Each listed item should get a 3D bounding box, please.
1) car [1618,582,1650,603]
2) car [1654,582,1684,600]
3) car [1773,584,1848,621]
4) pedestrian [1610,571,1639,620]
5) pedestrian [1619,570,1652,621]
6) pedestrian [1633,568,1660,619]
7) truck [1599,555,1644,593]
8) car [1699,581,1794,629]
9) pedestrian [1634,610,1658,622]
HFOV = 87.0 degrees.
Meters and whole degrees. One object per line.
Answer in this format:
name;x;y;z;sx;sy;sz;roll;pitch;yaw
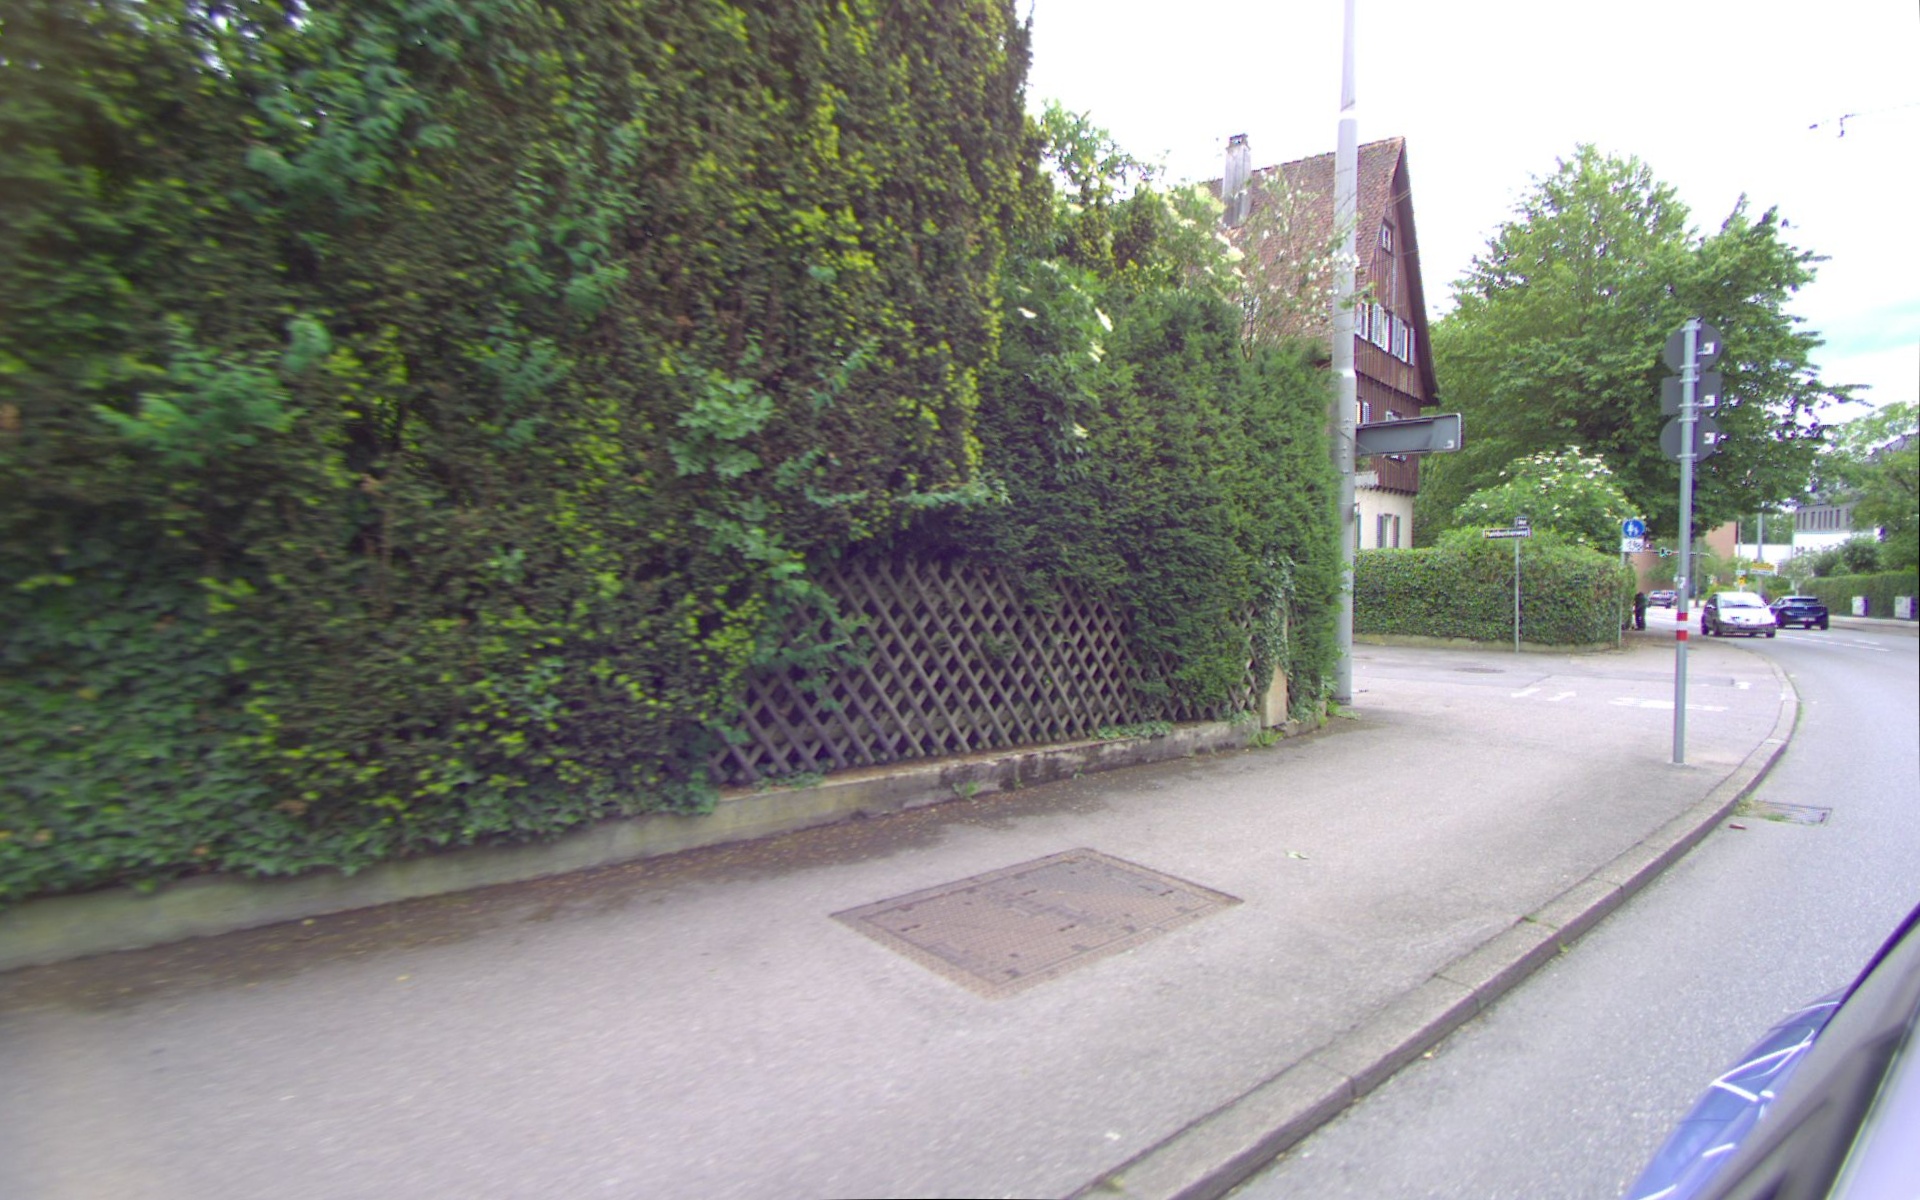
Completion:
car;57.199;-0.661;85.914;1.794;1.738;4.336;0;1;27
car;61.100;-0.786;87.237;1.671;1.490;3.976;0;1;29
car;37.269;0.073;44.442;1.747;1.457;4.051;-1;1;30
pedestrian;25.410;-0.183;38.688;0.802;1.829;0.734;1;1;27
pedestrian;24.637;-0.166;36.900;0.676;1.829;0.675;1;1;-13
pedestrian;24.971;-0.237;36.823;0.508;1.829;0.603;0;1;-22
truck;64.422;-2.623;98.705;2.760;3.503;7.425;2;3;27
car;28.178;0.135;36.382;1.981;1.616;3.962;1;1;27
pedestrian;26.605;0.612;39.265;0.668;0.398;0.734;1;2;27
